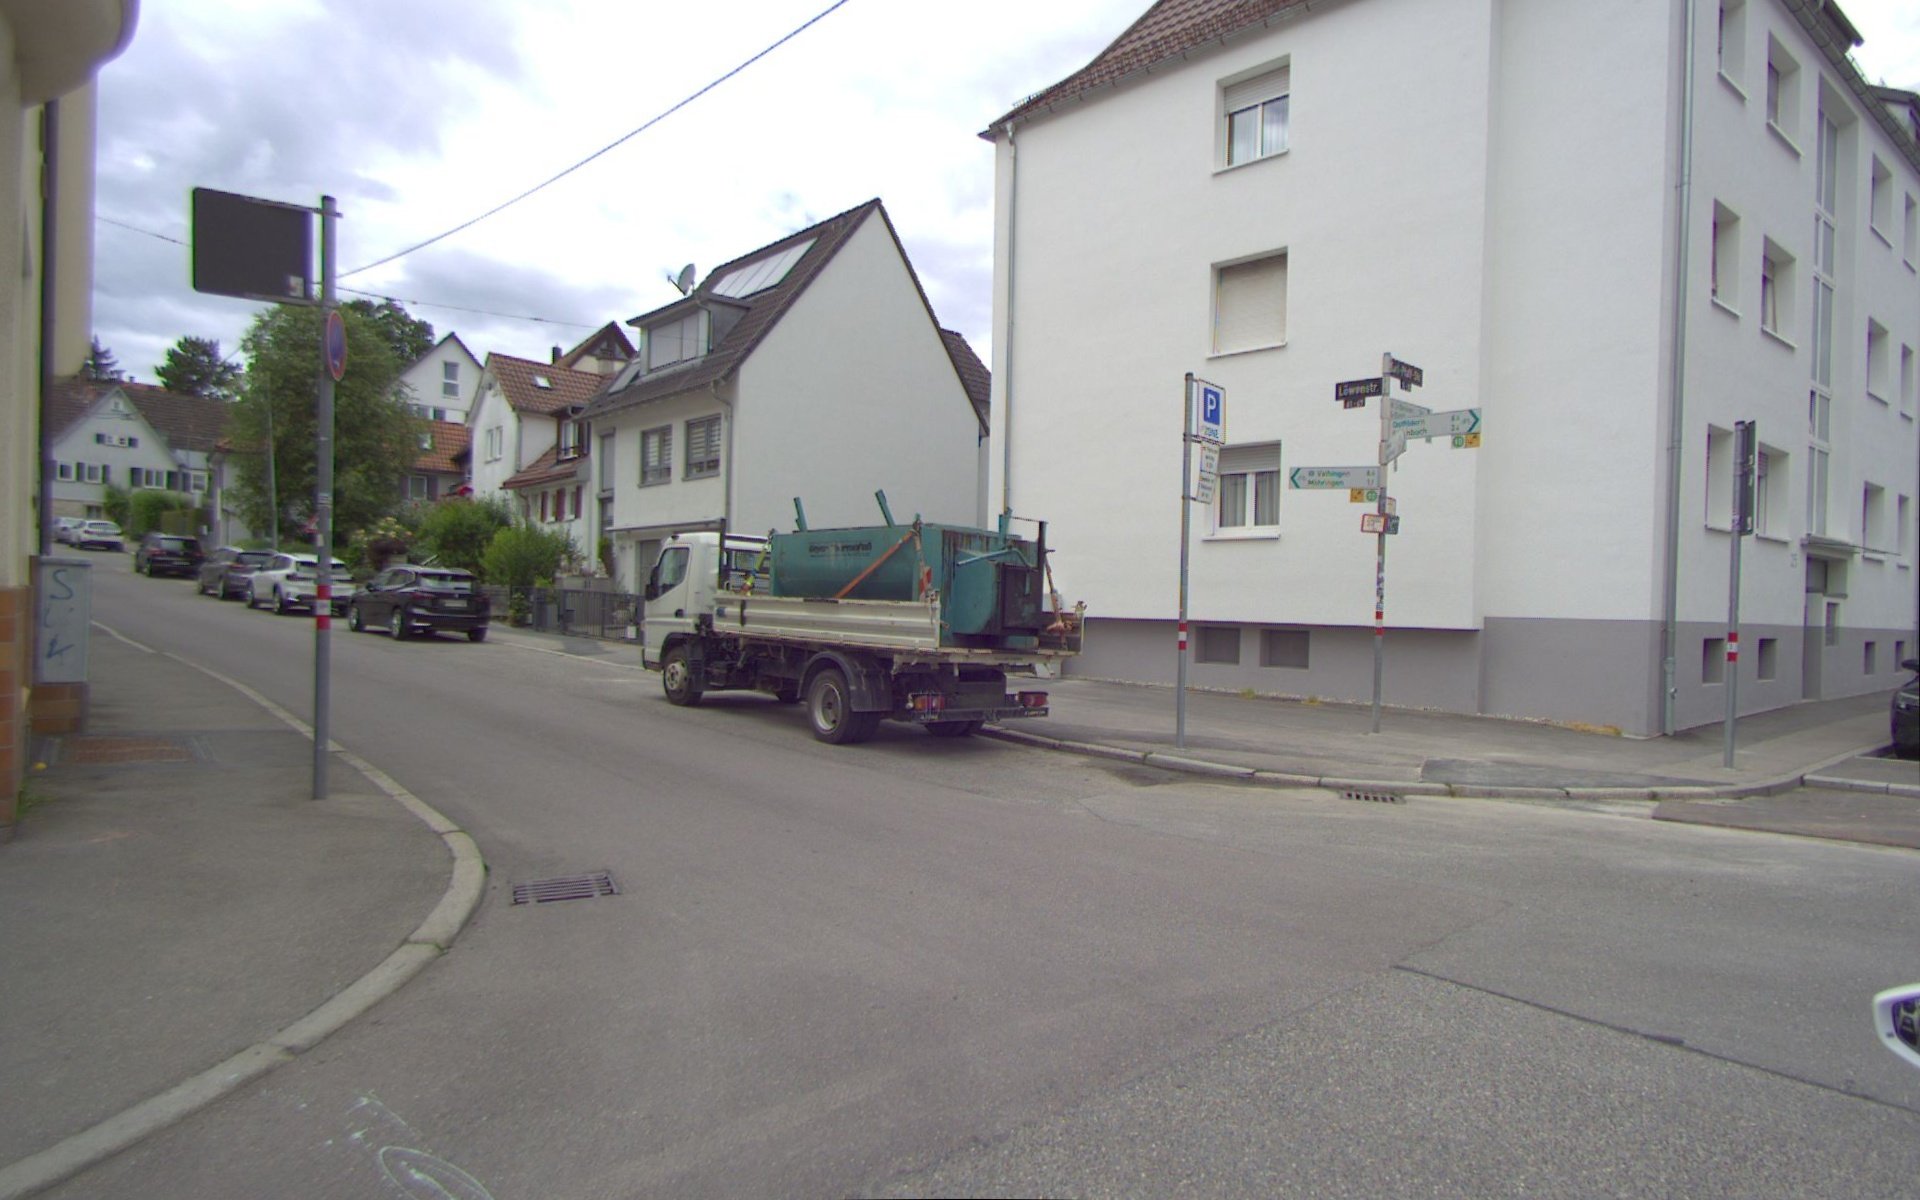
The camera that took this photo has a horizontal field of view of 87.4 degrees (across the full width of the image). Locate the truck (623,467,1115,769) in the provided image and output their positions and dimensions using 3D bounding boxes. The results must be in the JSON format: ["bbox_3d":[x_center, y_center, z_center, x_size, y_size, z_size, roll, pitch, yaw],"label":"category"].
[{"bbox_3d":[-1.413,0.171,11.669,2.302,2.585,6.207,3,-2,-43],"label":"truck"}]

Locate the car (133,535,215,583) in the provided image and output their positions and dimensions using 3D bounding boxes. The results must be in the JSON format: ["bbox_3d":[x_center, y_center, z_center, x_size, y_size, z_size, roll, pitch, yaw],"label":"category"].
[{"bbox_3d":[-31.339,-1.643,40.026,3.888,1.672,1.847,4,0,41],"label":"car"}]

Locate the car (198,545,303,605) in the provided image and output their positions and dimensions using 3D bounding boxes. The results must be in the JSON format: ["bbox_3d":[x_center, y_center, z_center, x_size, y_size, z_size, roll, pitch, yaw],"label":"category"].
[{"bbox_3d":[-22.908,-0.830,32.395,3.888,1.672,1.847,4,0,41],"label":"car"}]

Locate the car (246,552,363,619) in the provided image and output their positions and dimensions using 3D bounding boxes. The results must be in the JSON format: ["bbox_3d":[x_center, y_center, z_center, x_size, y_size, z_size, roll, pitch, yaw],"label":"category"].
[{"bbox_3d":[-18.396,-0.426,28.128,3.890,1.672,1.846,2,-1,43],"label":"car"}]

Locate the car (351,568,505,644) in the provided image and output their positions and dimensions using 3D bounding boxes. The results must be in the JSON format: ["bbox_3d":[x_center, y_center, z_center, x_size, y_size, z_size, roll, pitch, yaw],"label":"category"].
[{"bbox_3d":[-11.912,0.110,22.400,3.890,1.483,1.846,2,-1,43],"label":"car"}]

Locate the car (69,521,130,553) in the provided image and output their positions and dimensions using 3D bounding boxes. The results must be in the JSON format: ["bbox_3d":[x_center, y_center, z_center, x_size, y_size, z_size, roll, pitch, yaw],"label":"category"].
[{"bbox_3d":[-44.854,-3.282,52.354,3.888,1.469,1.847,4,0,41],"label":"car"}]

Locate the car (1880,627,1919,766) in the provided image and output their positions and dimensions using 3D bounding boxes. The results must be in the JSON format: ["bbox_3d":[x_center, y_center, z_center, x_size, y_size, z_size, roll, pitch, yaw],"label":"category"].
[{"bbox_3d":[11.924,1.019,11.220,4.260,1.410,1.806,0,0,-39],"label":"car"}]

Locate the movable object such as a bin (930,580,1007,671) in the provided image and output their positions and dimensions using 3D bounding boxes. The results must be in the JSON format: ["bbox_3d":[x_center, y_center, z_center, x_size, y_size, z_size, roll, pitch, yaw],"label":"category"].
[{"bbox_3d":[0.166,0.470,18.983,1.004,1.639,0.989,2,0,-43],"label":"movable object such as a bin"}]

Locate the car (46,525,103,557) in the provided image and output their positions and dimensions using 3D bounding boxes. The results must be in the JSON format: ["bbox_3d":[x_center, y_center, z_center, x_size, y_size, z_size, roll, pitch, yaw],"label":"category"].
[{"bbox_3d":[-49.480,-3.287,56.097,3.888,1.469,1.847,6,2,41],"label":"car"}]
